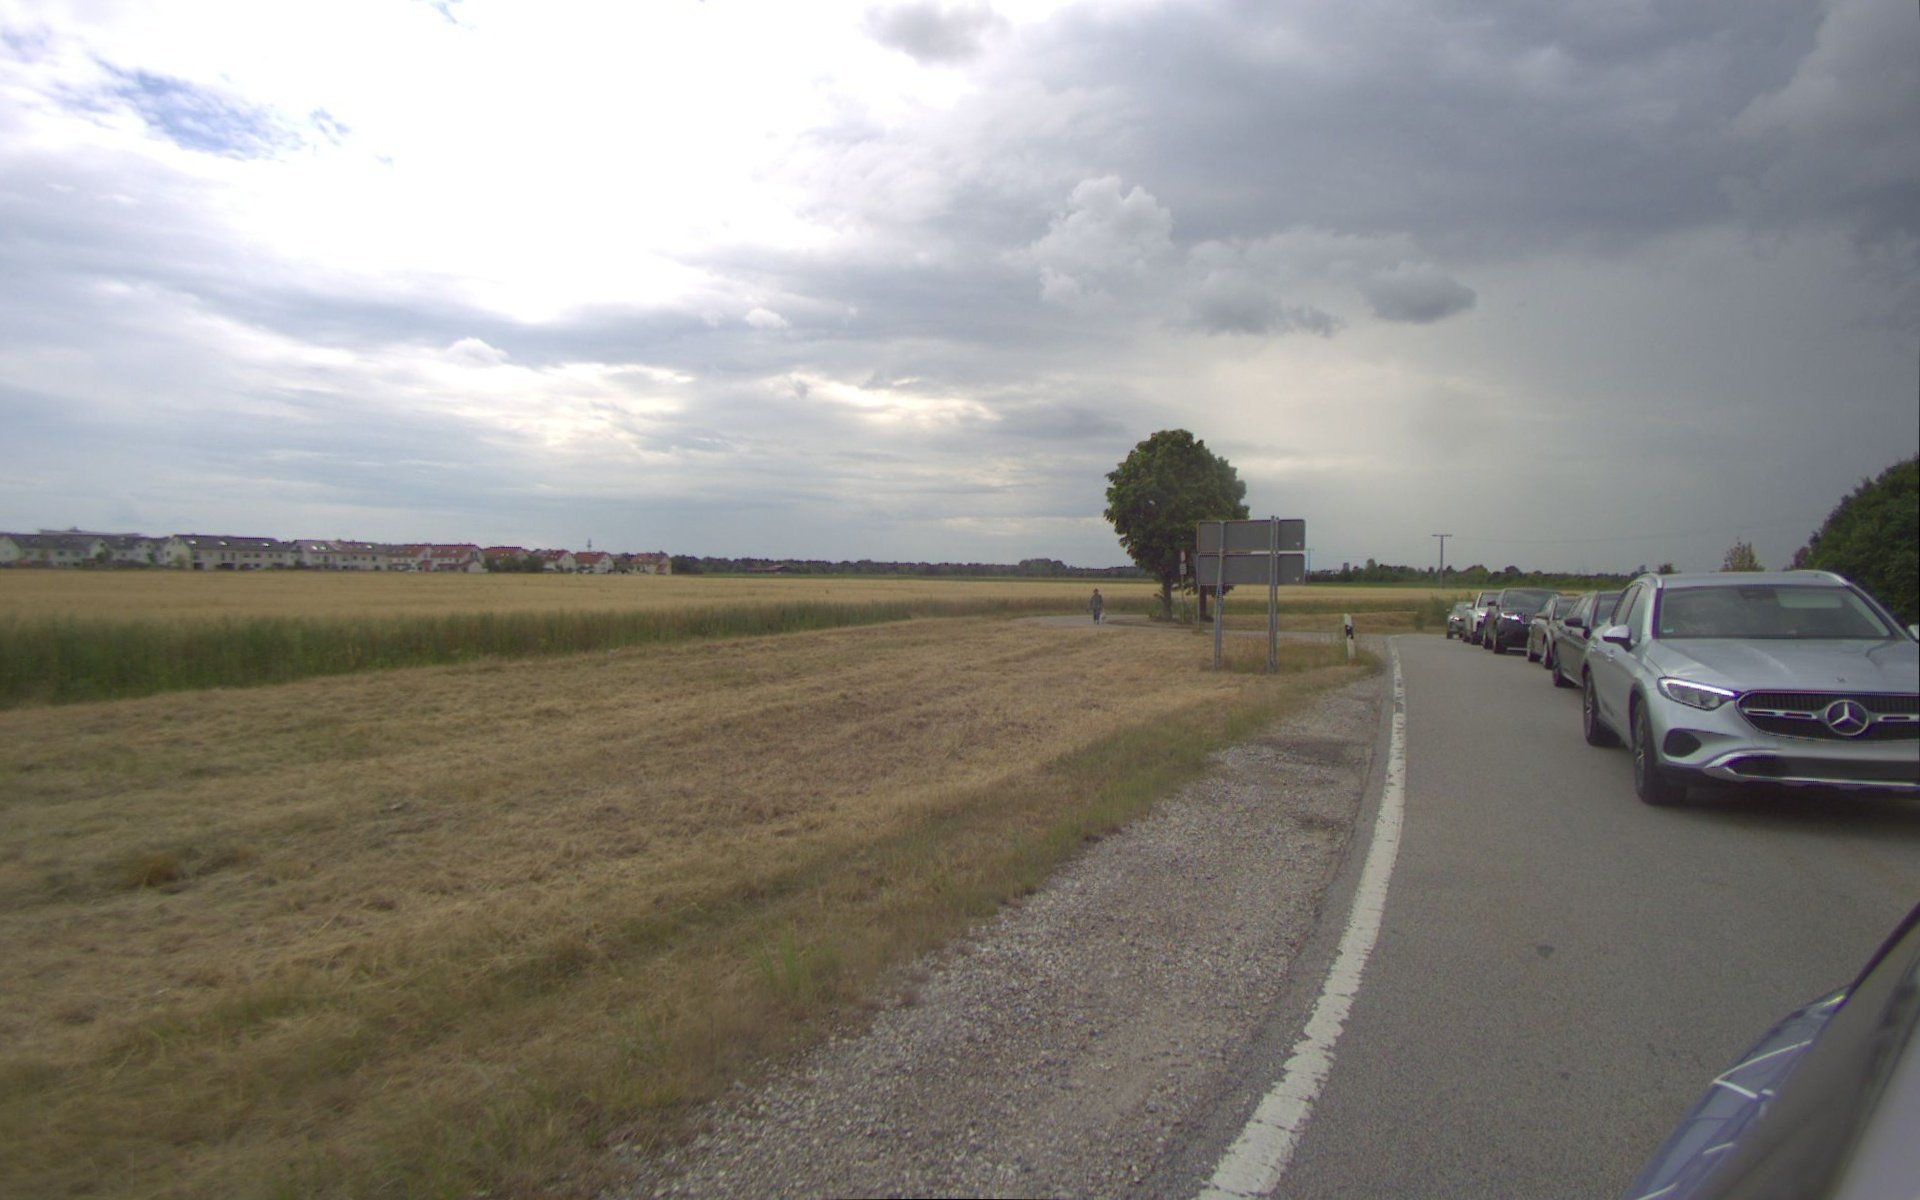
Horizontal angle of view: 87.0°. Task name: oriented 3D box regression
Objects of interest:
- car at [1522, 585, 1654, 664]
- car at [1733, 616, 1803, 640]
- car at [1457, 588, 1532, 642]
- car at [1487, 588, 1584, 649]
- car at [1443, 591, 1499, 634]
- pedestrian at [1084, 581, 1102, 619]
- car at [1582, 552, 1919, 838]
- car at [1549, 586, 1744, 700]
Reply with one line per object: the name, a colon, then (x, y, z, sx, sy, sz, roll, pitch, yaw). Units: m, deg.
car: (12.767, 0.416, 20.811, 1.703, 1.370, 4.180, 1, 2, 24)
car: (55.448, 1.894, 69.451, 3.916, 1.552, 1.827, 0, 1, -16)
car: (16.782, 0.420, 31.944, 1.703, 1.513, 4.601, -1, 1, 24)
car: (14.563, 0.430, 25.800, 1.703, 1.370, 4.180, -1, 1, 24)
car: (20.121, 0.461, 39.986, 1.703, 1.513, 4.180, -1, 1, 24)
pedestrian: (5.948, -0.013, 45.357, 0.760, 1.631, 0.943, 1, 1, 6)
car: (6.172, 0.491, 7.738, 1.977, 1.606, 4.354, -1, 1, 27)
car: (9.918, 0.513, 14.978, 1.705, 1.370, 4.653, -1, 1, 26)
